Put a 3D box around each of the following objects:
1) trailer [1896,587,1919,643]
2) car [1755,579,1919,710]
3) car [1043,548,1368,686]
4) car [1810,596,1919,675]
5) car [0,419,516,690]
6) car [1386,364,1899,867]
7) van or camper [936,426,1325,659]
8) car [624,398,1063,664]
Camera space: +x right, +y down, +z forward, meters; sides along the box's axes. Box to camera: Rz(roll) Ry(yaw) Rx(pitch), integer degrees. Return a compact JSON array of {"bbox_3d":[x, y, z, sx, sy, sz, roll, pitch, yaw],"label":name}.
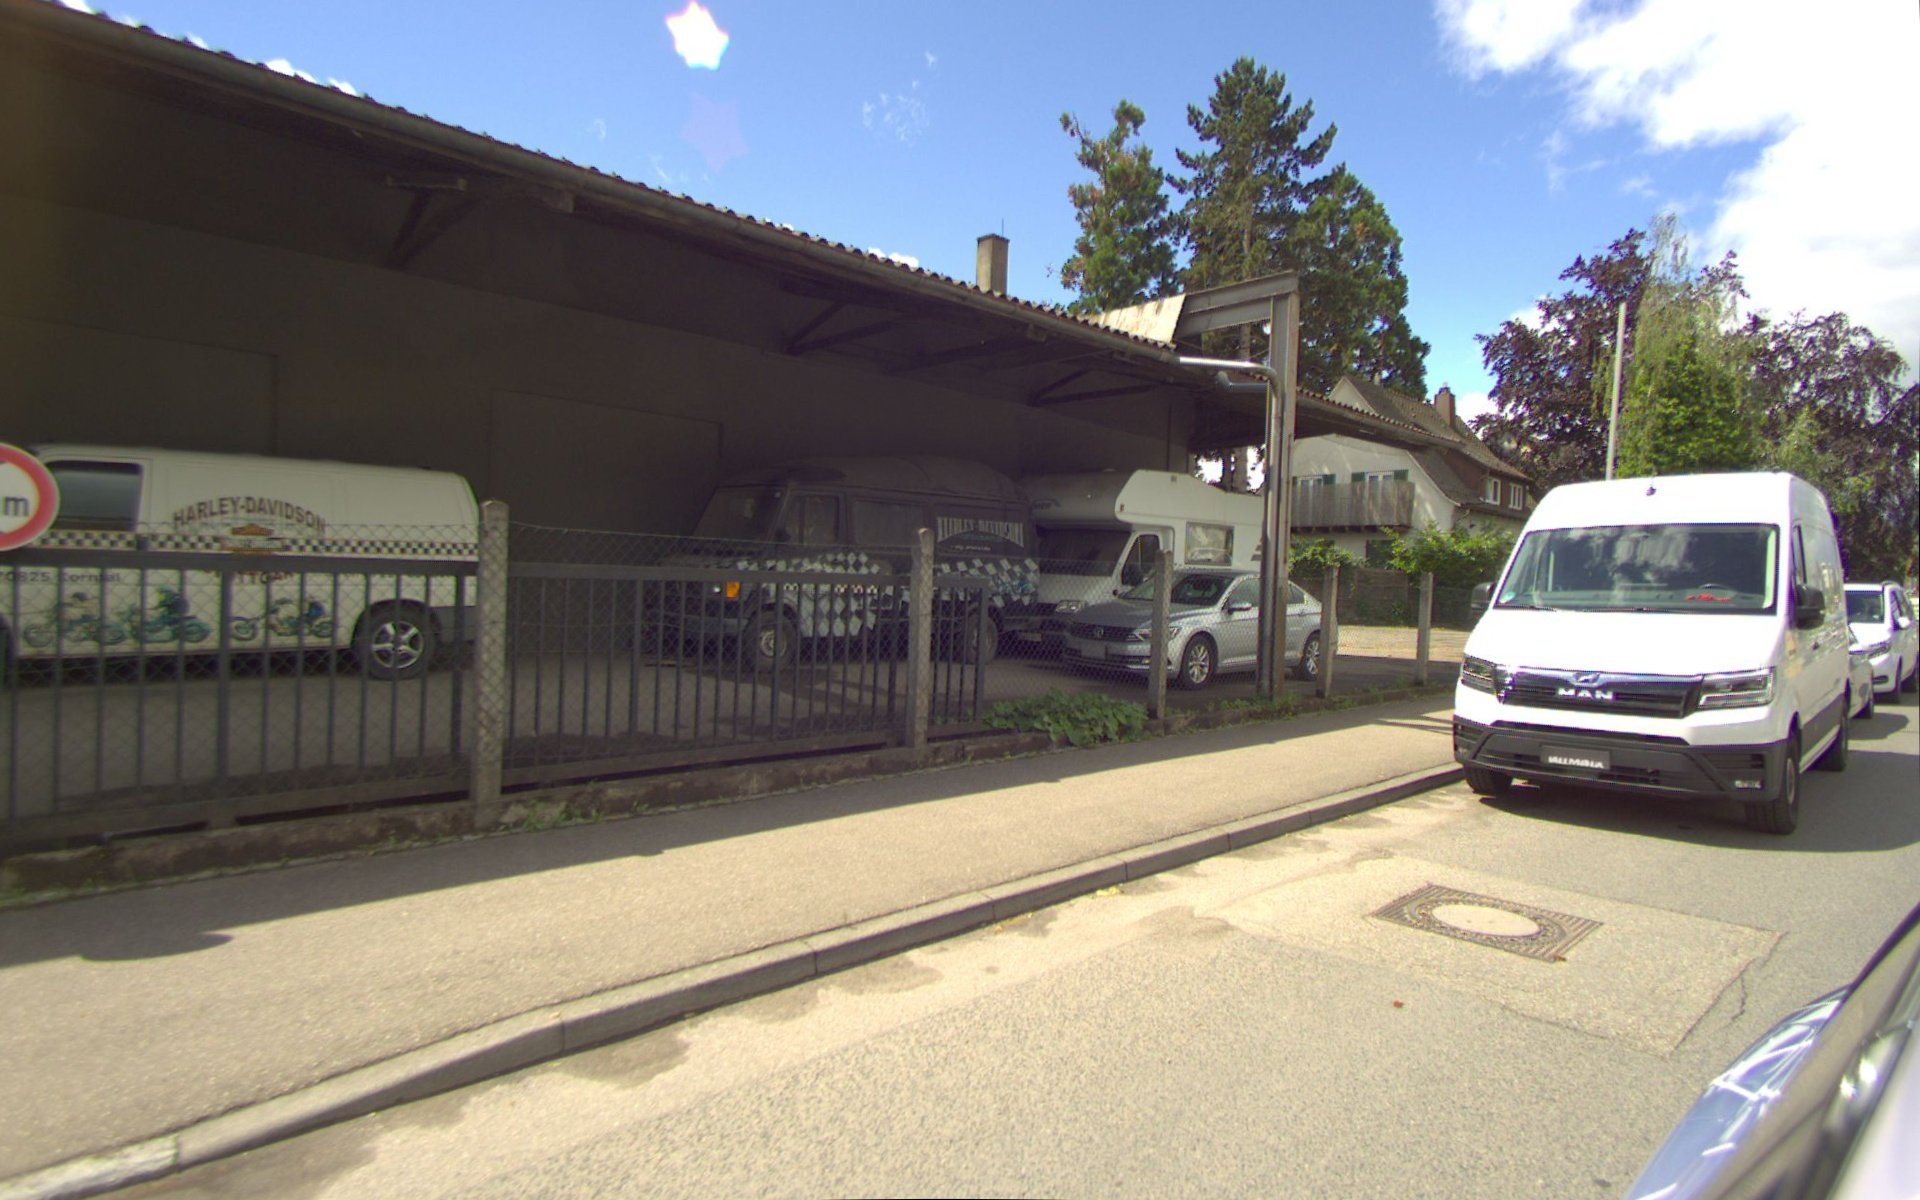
[{"bbox_3d":[33.918,0.523,34.937,4.684,1.846,1.996,1,0,-43],"label":"trailer"},{"bbox_3d":[15.236,0.665,17.303,5.300,1.909,1.906,1,0,-44],"label":"car"},{"bbox_3d":[3.401,0.197,13.362,4.842,1.508,1.767,1,1,-43],"label":"car"},{"bbox_3d":[19.173,0.675,20.998,4.909,1.469,1.757,1,-1,-43],"label":"car"},{"bbox_3d":[-6.677,-0.342,8.757,4.770,1.934,1.996,1,1,-43],"label":"car"},{"bbox_3d":[6.143,0.052,8.562,6.547,2.722,2.217,1,2,-44],"label":"car"},{"bbox_3d":[3.091,-0.799,16.837,6.799,3.099,2.884,1,2,-44],"label":"van or camper"},{"bbox_3d":[-1.233,-0.670,12.954,5.406,2.715,2.019,2,0,-45],"label":"car"}]
